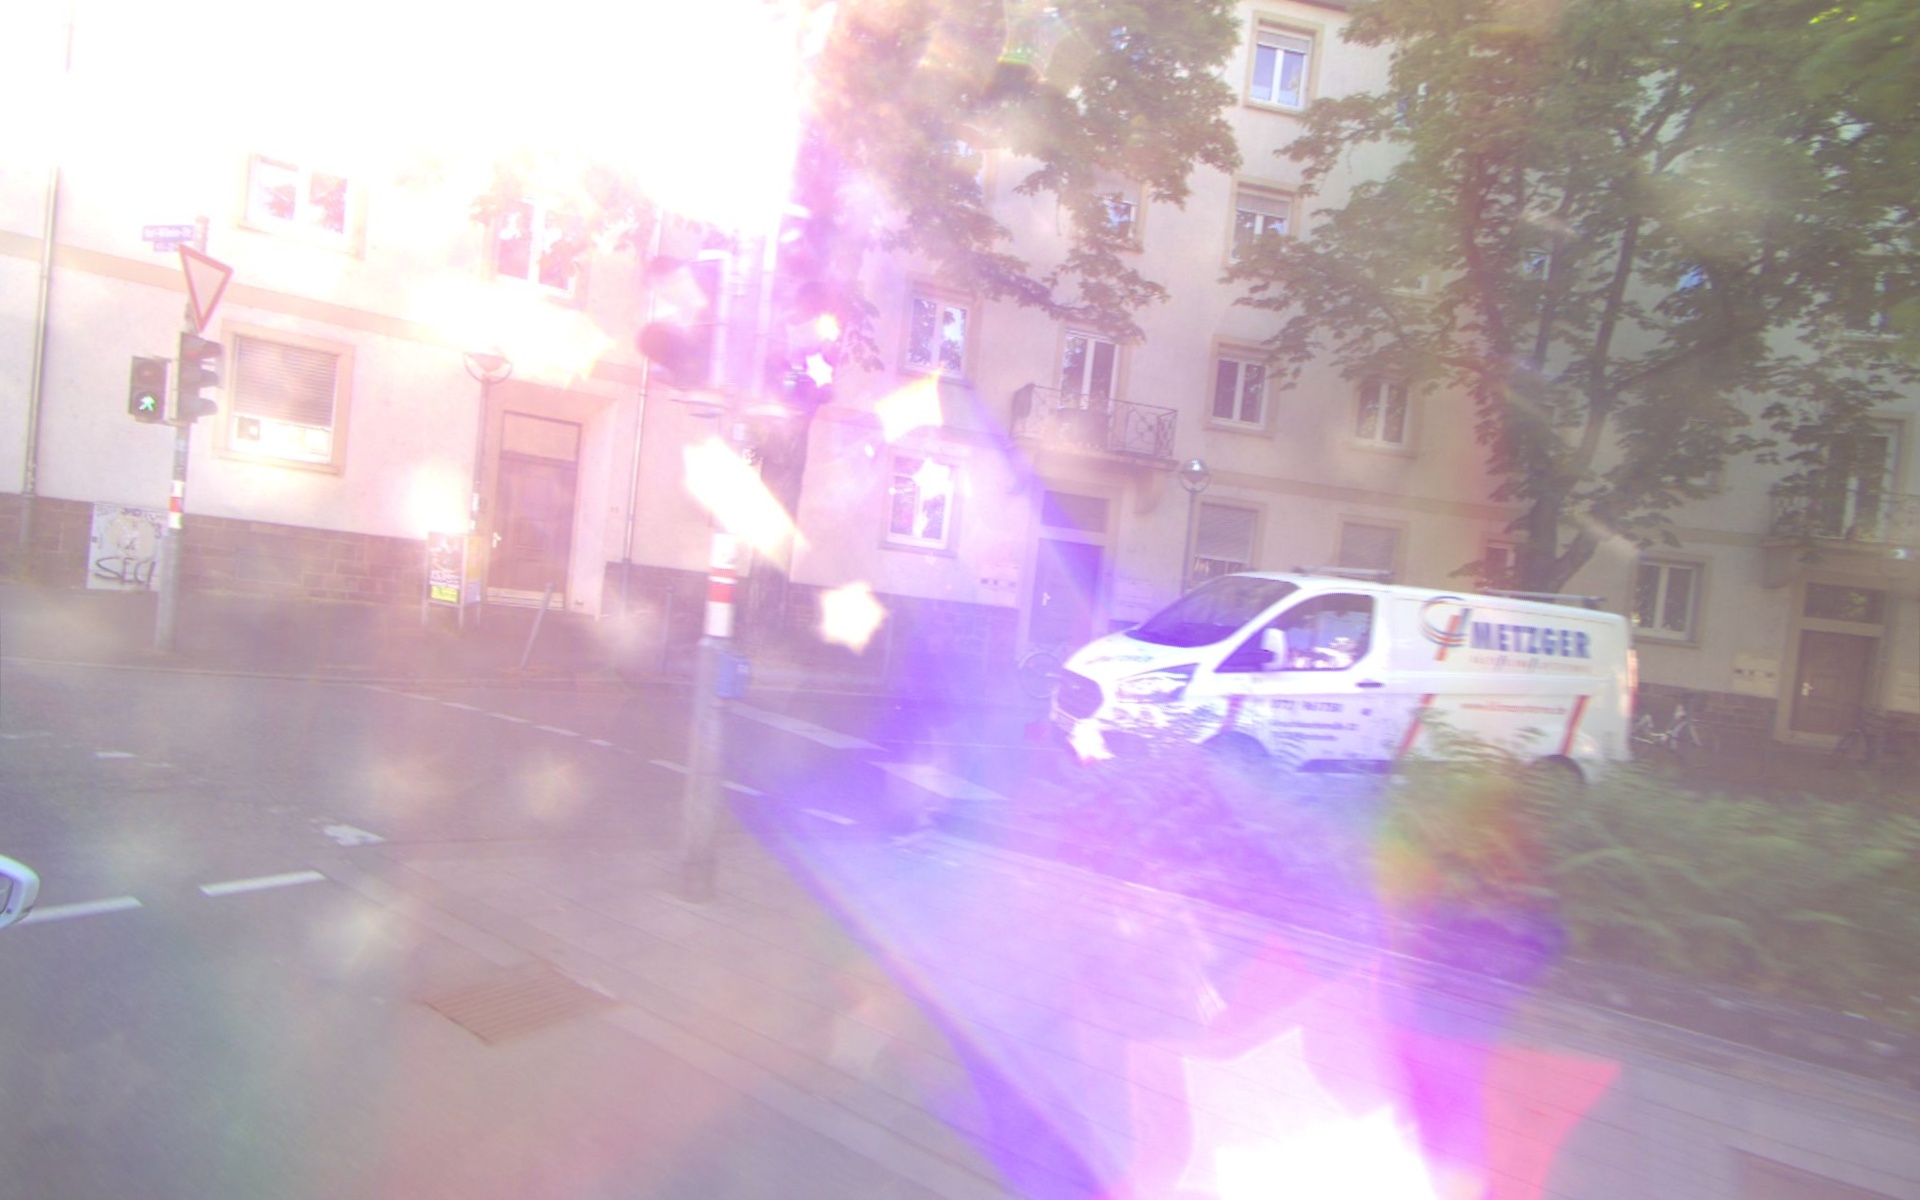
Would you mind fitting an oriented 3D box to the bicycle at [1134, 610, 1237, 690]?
[{"bbox_3d":[3.787,0.837,16.933,1.494,1.137,0.427,7,4,-8],"label":"bicycle"}]

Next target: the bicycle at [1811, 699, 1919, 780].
[{"bbox_3d":[15.228,2.320,16.767,1.536,1.131,0.461,6,4,0],"label":"bicycle"}]

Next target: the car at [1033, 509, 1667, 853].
[{"bbox_3d":[3.209,0.702,8.498,4.683,2.117,1.682,8,0,-14],"label":"car"}]

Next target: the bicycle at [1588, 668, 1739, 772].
[{"bbox_3d":[10.567,1.798,15.138,1.797,1.297,0.427,7,4,0],"label":"bicycle"}]

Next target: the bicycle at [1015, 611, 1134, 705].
[{"bbox_3d":[1.576,0.795,13.933,1.463,1.094,0.427,7,4,-8],"label":"bicycle"}]

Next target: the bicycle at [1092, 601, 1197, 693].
[{"bbox_3d":[2.990,0.758,16.364,1.463,1.297,0.427,7,4,-8],"label":"bicycle"}]

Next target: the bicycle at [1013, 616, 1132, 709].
[{"bbox_3d":[1.558,0.863,13.968,1.463,1.094,0.427,7,4,-8],"label":"bicycle"}]
